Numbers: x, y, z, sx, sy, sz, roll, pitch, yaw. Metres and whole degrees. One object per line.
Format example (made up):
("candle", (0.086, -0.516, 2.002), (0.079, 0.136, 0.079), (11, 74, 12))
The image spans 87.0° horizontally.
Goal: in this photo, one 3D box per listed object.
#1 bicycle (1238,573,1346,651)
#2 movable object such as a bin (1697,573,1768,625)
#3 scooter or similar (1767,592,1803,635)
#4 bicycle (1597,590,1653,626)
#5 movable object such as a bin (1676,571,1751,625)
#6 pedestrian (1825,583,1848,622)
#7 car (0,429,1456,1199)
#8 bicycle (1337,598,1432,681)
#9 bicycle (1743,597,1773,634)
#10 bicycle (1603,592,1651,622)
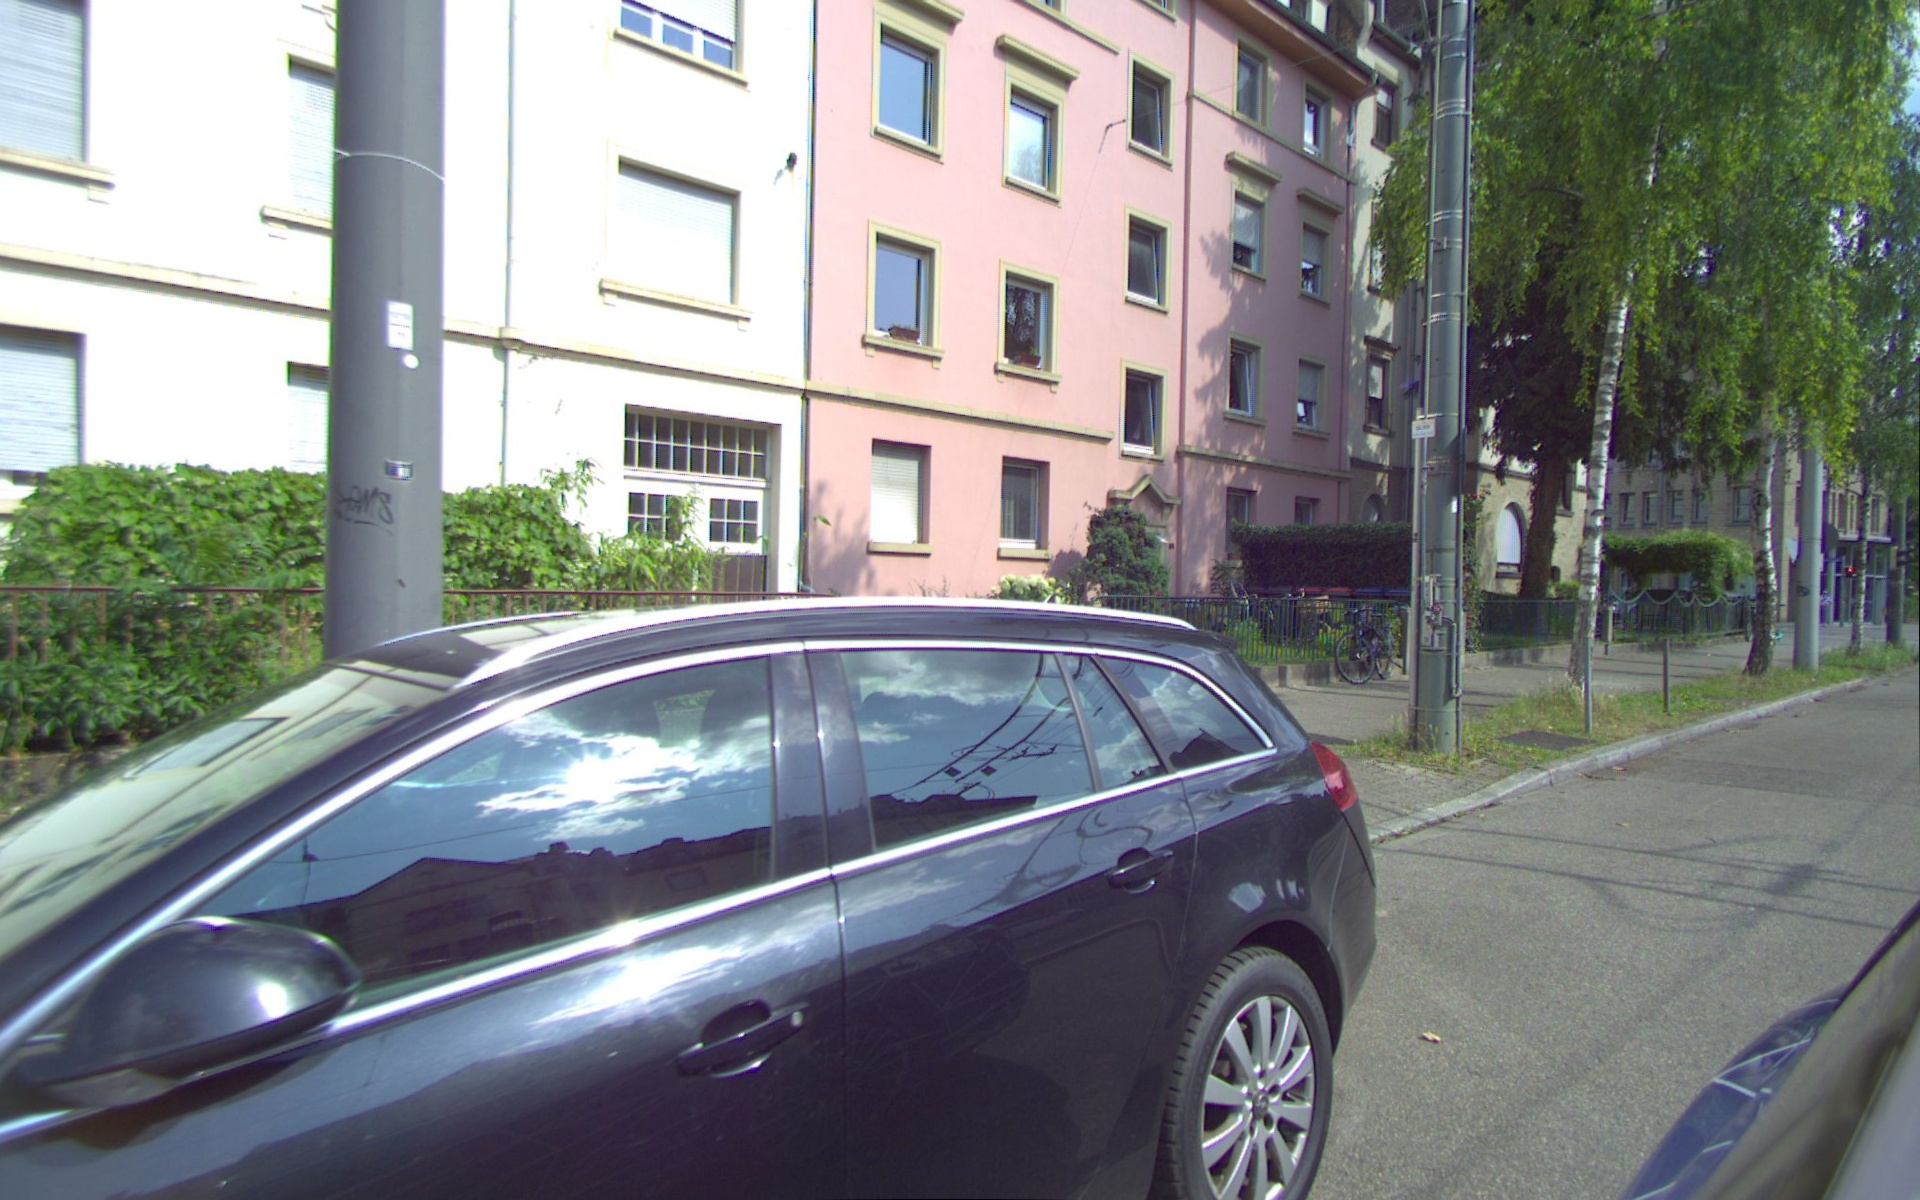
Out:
("bicycle", (5.626, 0.179, 17.259), (0.413, 1.235, 1.776), (0, 2, -41))
("movable object such as a bin", (23.715, -0.043, 31.069), (1.964, 1.510, 1.305), (0, 2, -40))
("scooter or similar", (24.373, 0.385, 29.892), (1.166, 1.193, 0.522), (0, 4, -39))
("bicycle", (19.978, 0.233, 30.404), (0.445, 1.014, 1.314), (0, 2, -41))
("movable object such as a bin", (22.109, -0.068, 29.699), (1.964, 1.510, 1.305), (0, 2, -40))
("pedestrian", (42.711, 0.093, 49.319), (0.732, 1.865, 0.797), (1, 1, 35))
("car", (-0.855, 0.624, 2.110), (4.447, 1.540, 1.794), (0, -1, -41))
("bicycle", (5.884, 0.517, 13.981), (1.746, 1.066, 0.421), (0, 2, -39))
("bicycle", (23.360, 0.444, 29.619), (1.455, 1.034, 0.350), (0, 4, -41))
("bicycle", (21.144, 0.221, 32.083), (0.445, 0.911, 1.169), (0, 2, -41))
